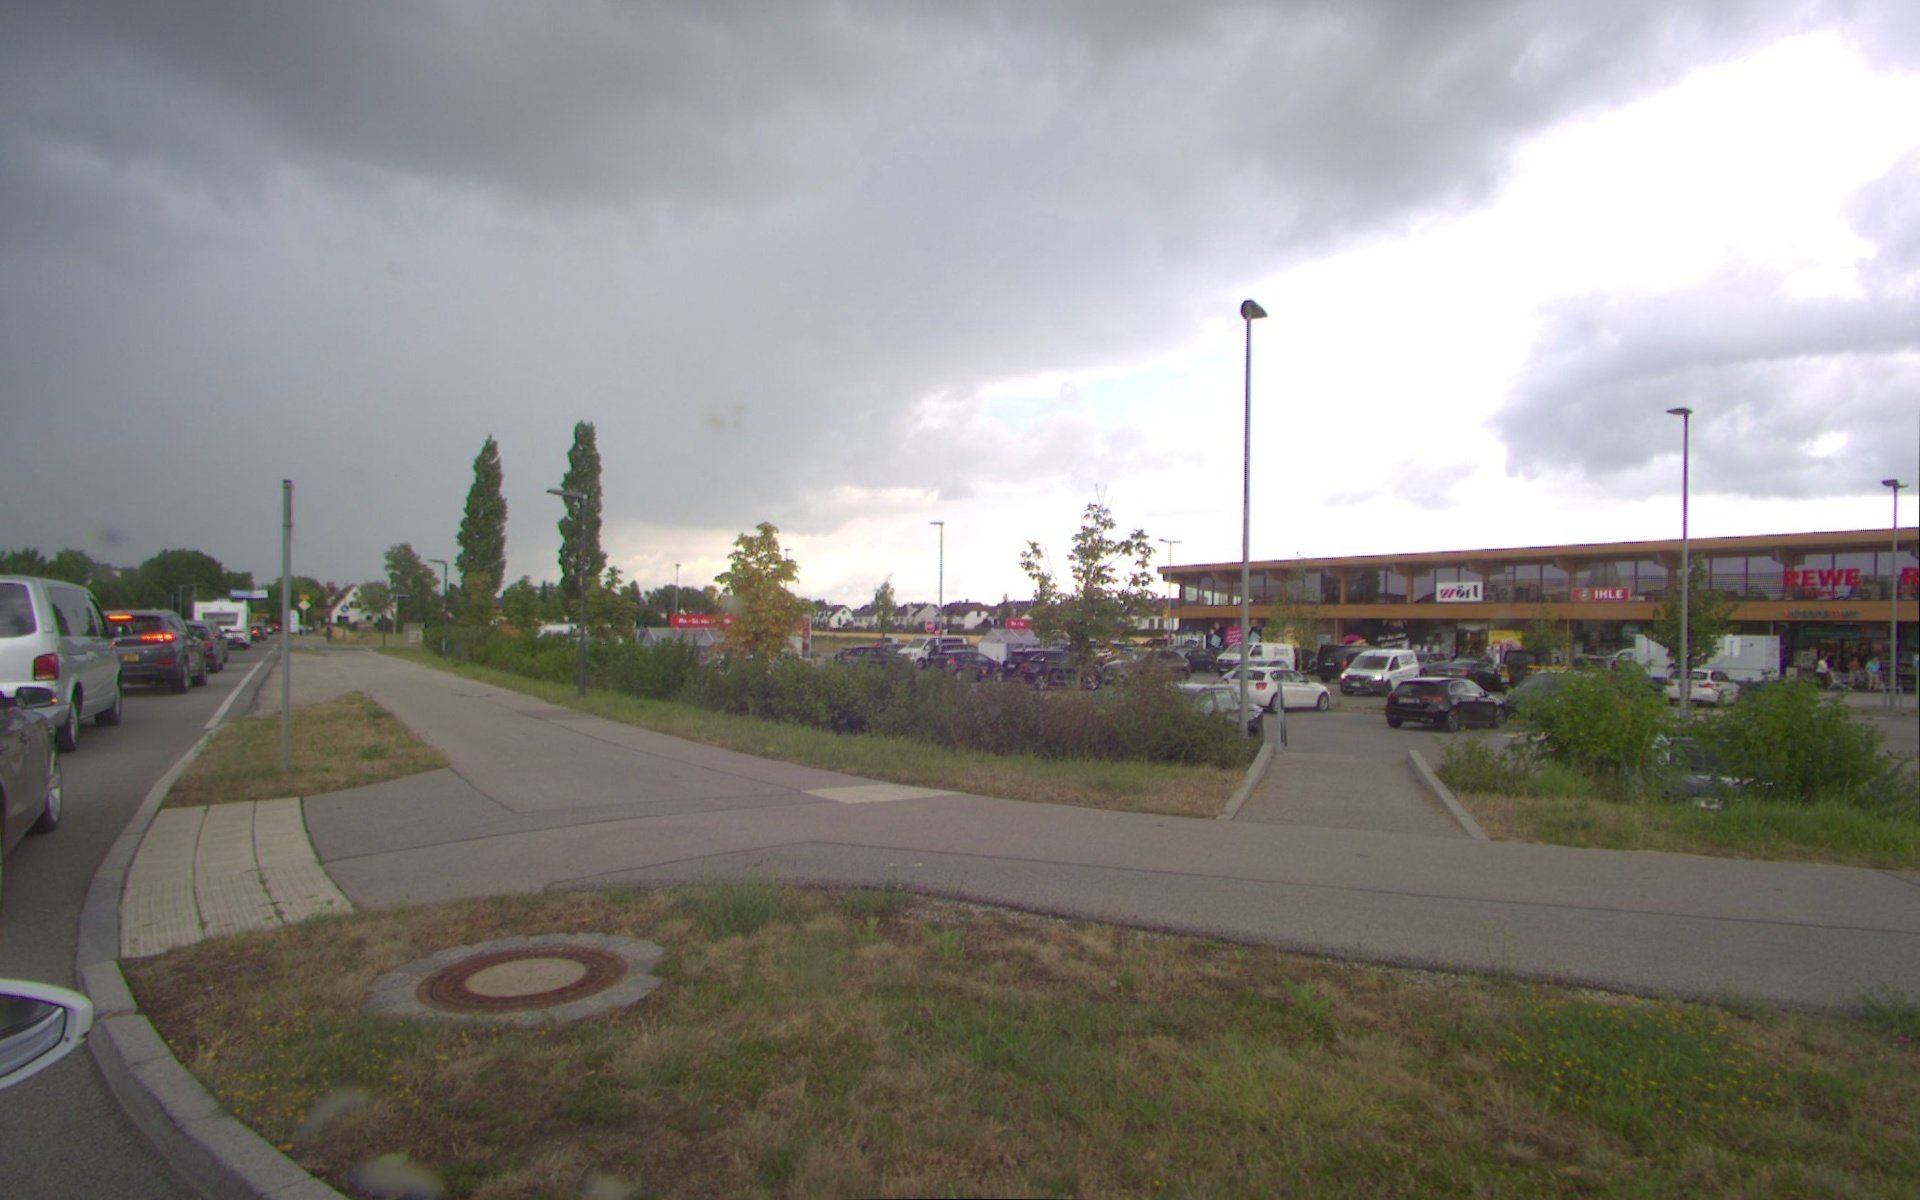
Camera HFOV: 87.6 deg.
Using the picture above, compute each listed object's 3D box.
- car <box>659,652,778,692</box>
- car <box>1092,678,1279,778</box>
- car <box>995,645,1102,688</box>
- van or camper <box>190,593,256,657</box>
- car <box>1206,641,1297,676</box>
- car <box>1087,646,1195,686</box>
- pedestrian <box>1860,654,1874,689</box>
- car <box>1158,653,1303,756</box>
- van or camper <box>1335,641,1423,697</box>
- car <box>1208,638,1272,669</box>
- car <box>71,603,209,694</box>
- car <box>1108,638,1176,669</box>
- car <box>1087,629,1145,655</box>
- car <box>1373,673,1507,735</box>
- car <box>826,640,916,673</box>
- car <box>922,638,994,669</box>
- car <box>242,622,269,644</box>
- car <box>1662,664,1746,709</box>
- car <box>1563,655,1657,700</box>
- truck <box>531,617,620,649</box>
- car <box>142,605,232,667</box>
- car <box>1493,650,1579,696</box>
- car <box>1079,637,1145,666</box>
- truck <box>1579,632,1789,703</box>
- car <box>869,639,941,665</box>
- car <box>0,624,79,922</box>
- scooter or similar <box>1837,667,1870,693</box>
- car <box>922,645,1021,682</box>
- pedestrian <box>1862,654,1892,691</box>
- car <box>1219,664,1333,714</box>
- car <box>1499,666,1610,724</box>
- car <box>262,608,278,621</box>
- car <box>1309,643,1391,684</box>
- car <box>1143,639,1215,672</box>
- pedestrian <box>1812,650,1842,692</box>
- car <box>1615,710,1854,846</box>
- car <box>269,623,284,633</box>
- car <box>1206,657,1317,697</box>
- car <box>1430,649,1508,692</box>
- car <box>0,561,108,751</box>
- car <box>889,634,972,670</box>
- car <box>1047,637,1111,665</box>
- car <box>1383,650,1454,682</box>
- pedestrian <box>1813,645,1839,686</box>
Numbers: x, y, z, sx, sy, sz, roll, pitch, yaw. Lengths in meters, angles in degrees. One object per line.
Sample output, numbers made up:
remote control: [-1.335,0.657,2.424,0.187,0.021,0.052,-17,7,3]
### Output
car: [-9.567,2.826,39.733,4.192,1.458,1.987,2,-2,-34]
car: [4.595,2.470,20.129,3.960,1.627,1.774,1,-2,-43]
car: [3.801,2.840,42.652,4.409,1.727,1.792,3,-2,-35]
van or camper: [-41.004,1.454,55.857,2.600,3.365,6.778,2,-3,-34]
car: [16.140,3.235,55.281,5.236,1.854,1.987,3,-3,-34]
car: [8.337,2.990,45.920,4.927,1.686,1.987,2,-2,-35]
pedestrian: [51.424,4.057,56.771,0.520,1.974,0.573,1,-1,-43]
car: [4.065,1.468,14.673,1.552,1.221,3.749,2,-3,23]
van or camper: [17.421,2.803,41.526,1.747,2.125,4.763,0,-2,44]
car: [17.924,3.422,64.087,4.064,1.918,1.785,2,-2,-35]
car: [-16.504,0.916,20.333,1.759,1.639,3.975,0,-1,-33]
car: [11.489,3.371,63.237,3.946,1.861,1.989,2,-2,-32]
car: [11.591,3.126,74.430,3.944,1.864,1.865,2,-2,-30]
car: [13.244,2.810,27.571,3.955,1.416,1.822,2,-2,-39]
car: [-4.860,3.084,54.686,4.513,1.686,1.987,2,-2,-34]
car: [-0.111,3.137,58.291,3.950,1.727,1.705,3,-2,-35]
car: [-57.946,2.705,82.435,1.597,1.816,3.976,2,-2,-33]
car: [28.686,3.279,38.576,3.956,1.549,1.717,2,-2,-40]
car: [26.497,3.119,40.802,4.070,1.746,1.840,3,-3,-36]
truck: [-23.831,2.062,62.154,4.758,1.896,1.984,3,-3,-39]
car: [-22.065,1.021,28.696,1.759,1.639,3.975,1,-2,-34]
car: [25.290,3.178,43.943,3.950,1.878,1.761,2,-2,-35]
car: [9.934,3.363,65.426,3.944,1.861,1.990,2,-2,-30]
truck: [32.424,2.929,45.118,2.943,2.843,7.200,2,-2,-39]
car: [-3.448,3.266,63.185,4.269,1.598,1.757,2,-2,-32]
car: [-5.931,0.840,5.125,1.768,1.409,4.103,0,-1,-36]
scooter or similar: [41.740,3.746,46.800,0.784,1.140,0.996,5,-3,-35]
car: [0.566,2.998,47.822,4.361,1.686,1.987,2,-2,-34]
pedestrian: [43.038,3.408,46.995,0.736,1.679,0.804,1,-1,16]
car: [10.460,2.891,33.013,3.952,1.503,1.669,3,-3,-39]
car: [18.406,2.874,30.947,3.956,1.573,1.717,2,-2,-40]
car: [-123.939,2.610,179.828,1.972,2.240,3.980,2,-2,-29]
car: [19.985,3.257,51.264,3.951,1.860,1.987,5,-3,-34]
car: [13.281,3.353,60.751,3.944,1.861,1.990,2,-2,-30]
pedestrian: [41.220,3.360,47.600,0.784,1.921,0.922,4,-3,-35]
car: [10.872,2.409,14.362,1.553,1.389,3.728,1,-2,18]
car: [-97.106,3.989,142.348,1.597,1.427,3.594,2,-2,-33]
car: [12.543,3.155,41.573,4.728,1.503,1.892,2,-2,-35]
car: [23.588,3.234,46.361,3.955,1.878,1.758,2,-2,-39]
car: [-11.366,0.597,11.706,1.851,1.959,3.970,2,-2,-37]
car: [-1.782,3.130,61.192,5.077,2.040,1.979,2,0,-45]
car: [8.077,3.451,67.745,3.945,1.861,1.989,2,-2,-31]
car: [24.767,3.523,54.027,4.177,1.632,1.754,3,-3,-38]
pedestrian: [44.688,3.372,51.651,0.798,2.040,0.923,1,-1,-42]
